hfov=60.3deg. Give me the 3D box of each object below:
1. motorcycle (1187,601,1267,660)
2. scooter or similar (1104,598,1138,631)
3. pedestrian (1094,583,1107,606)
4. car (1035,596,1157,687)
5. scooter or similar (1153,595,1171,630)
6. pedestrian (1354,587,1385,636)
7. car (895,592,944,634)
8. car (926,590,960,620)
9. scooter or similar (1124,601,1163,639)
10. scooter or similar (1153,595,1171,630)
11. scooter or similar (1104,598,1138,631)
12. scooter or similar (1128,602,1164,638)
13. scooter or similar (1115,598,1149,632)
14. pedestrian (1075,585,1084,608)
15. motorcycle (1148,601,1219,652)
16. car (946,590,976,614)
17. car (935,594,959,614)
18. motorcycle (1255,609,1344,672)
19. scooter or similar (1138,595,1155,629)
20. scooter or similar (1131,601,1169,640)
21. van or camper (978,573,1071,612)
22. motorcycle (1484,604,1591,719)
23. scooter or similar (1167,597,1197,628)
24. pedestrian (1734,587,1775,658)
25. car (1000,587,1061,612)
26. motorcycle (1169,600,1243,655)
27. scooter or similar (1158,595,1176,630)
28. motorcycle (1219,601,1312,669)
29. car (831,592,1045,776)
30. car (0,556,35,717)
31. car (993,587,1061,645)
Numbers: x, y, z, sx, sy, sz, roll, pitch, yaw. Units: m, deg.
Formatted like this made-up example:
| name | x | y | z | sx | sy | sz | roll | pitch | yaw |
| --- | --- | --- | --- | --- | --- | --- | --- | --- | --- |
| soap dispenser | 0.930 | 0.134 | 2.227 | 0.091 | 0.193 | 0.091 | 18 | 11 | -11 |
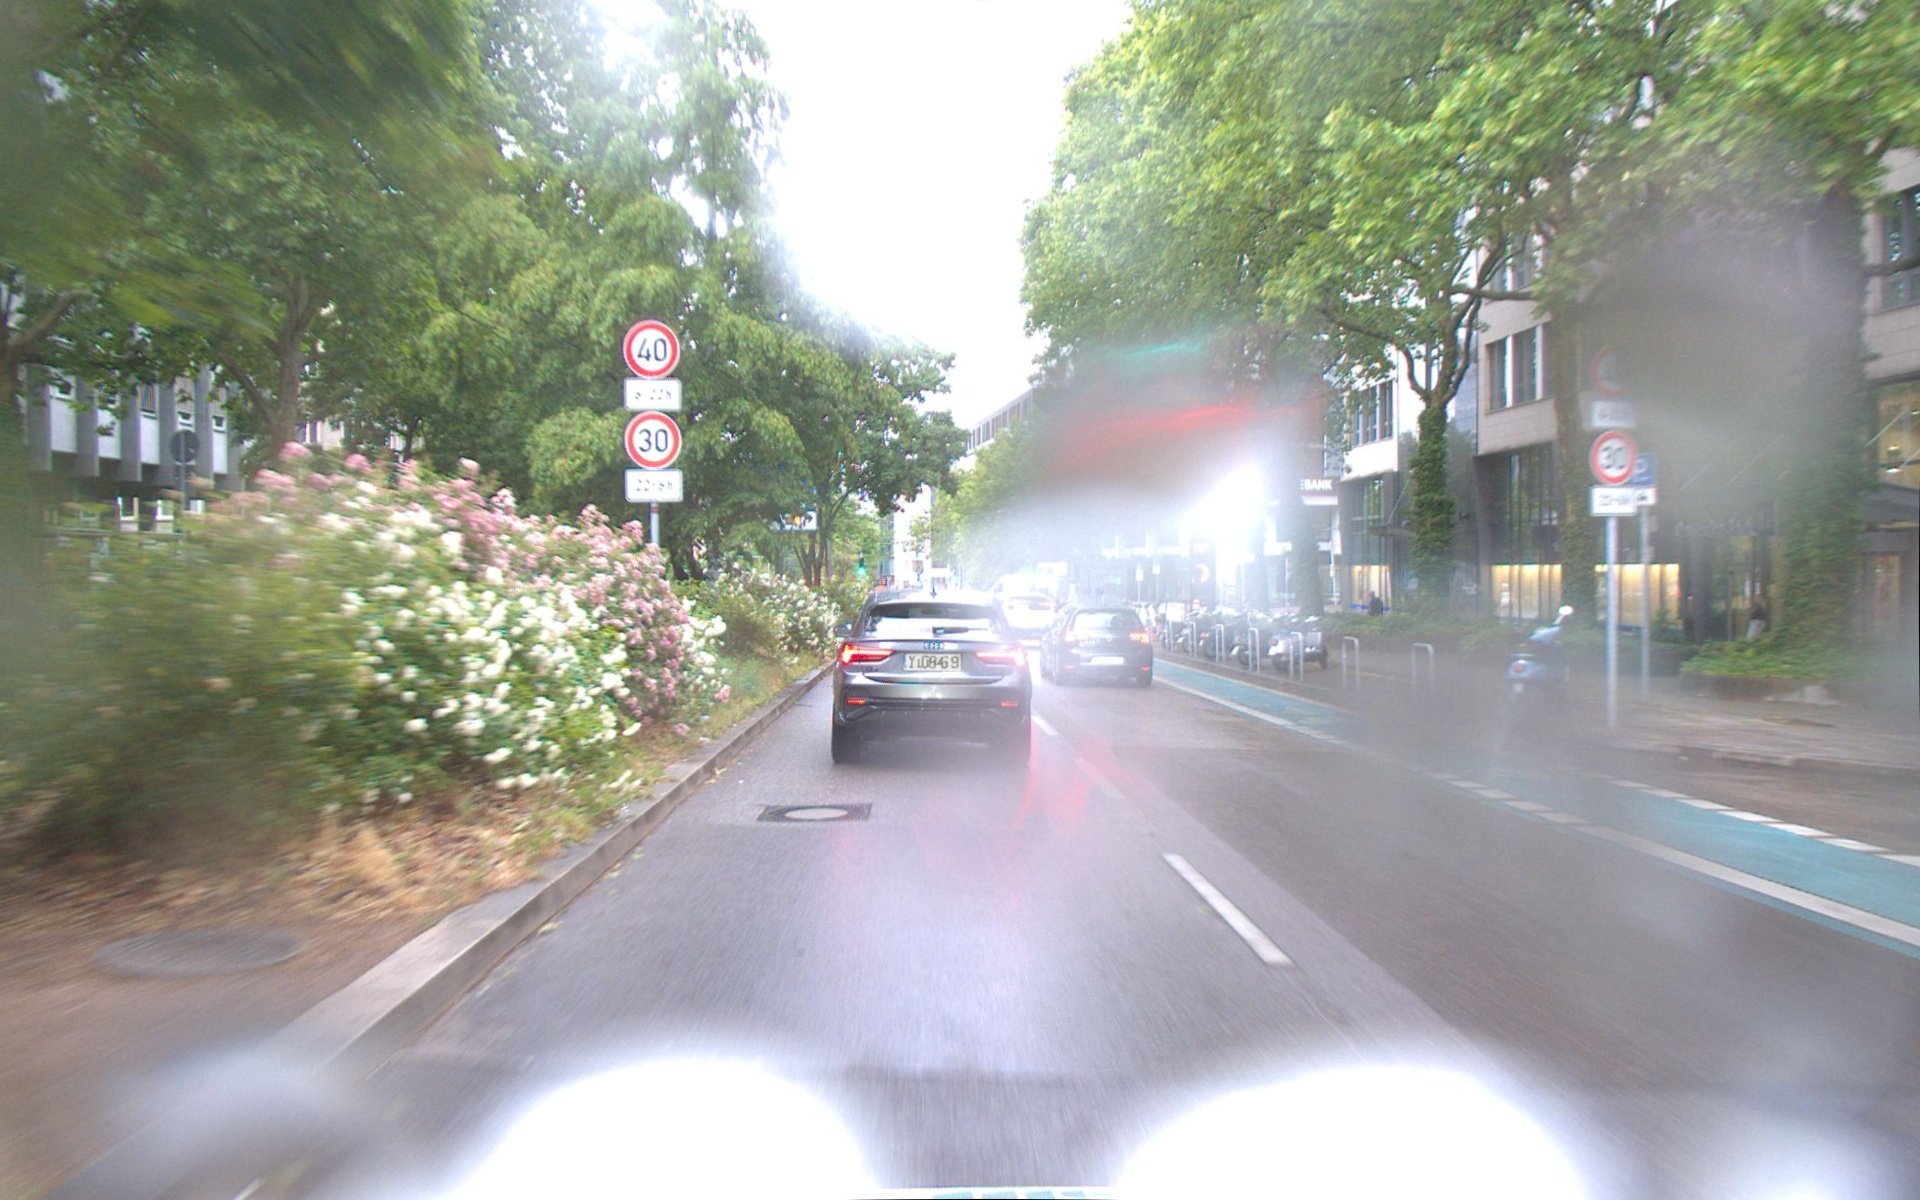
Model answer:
| name | x | y | z | sx | sy | sz | roll | pitch | yaw |
| --- | --- | --- | --- | --- | --- | --- | --- | --- | --- |
| motorcycle | 6.786 | 0.770 | 42.029 | 1.929 | 1.397 | 0.724 | -2 | 2 | -23 |
| scooter or similar | 6.367 | 0.576 | 65.349 | 1.262 | 1.282 | 0.490 | -1 | 2 | 10 |
| pedestrian | 10.606 | -0.405 | 125.071 | 0.789 | 1.726 | 1.186 | 1 | 0 | -5 |
| car | 2.454 | 0.716 | 30.673 | 1.812 | 1.550 | 4.037 | 0 | 0 | -2 |
| scooter or similar | 7.703 | 0.459 | 63.088 | 0.478 | 1.282 | 1.293 | -1 | 2 | -2 |
| pedestrian | 16.009 | 0.435 | 64.709 | 0.898 | 1.882 | 1.276 | 1 | -1 | 0 |
| car | -1.575 | 0.473 | 63.376 | 1.812 | 1.550 | 4.037 | 0 | 0 | -2 |
| car | -0.951 | 0.268 | 90.159 | 1.812 | 1.550 | 4.037 | 0 | 0 | -2 |
| scooter or similar | 6.540 | 0.718 | 59.102 | 1.267 | 1.300 | 0.535 | -2 | 2 | -13 |
| scooter or similar | 7.703 | 0.459 | 63.088 | 0.478 | 1.282 | 1.293 | -1 | 2 | -2 |
| scooter or similar | 6.423 | 0.583 | 65.962 | 1.262 | 1.282 | 0.490 | -1 | 2 | 10 |
| scooter or similar | 6.892 | 0.743 | 61.251 | 1.263 | 1.257 | 0.489 | -1 | 2 | 0 |
| scooter or similar | 6.749 | 0.578 | 64.828 | 1.262 | 1.282 | 0.490 | -1 | 2 | 10 |
| pedestrian | 9.440 | -0.253 | 130.790 | 0.542 | 1.837 | 0.761 | 1 | -1 | -5 |
| motorcycle | 6.590 | 0.765 | 48.730 | 1.925 | 1.397 | 0.725 | -2 | 2 | -18 |
| car | 0.035 | 0.128 | 108.897 | 1.812 | 1.550 | 4.037 | 0 | 0 | -2 |
| car | -1.048 | 0.282 | 130.665 | 1.812 | 1.550 | 4.037 | 0 | 0 | -2 |
| motorcycle | 7.255 | 0.851 | 35.298 | 2.039 | 1.234 | 0.676 | -3 | 0 | -38 |
| scooter or similar | 7.428 | 0.482 | 66.015 | 0.478 | 1.282 | 1.293 | -1 | 2 | -2 |
| scooter or similar | 6.661 | 0.709 | 57.977 | 1.262 | 1.300 | 0.537 | -1 | 2 | 2 |
| van or camper | 4.338 | -0.516 | 111.999 | 5.945 | 2.603 | 2.103 | 0 | 0 | 25 |
| motorcycle | 7.660 | 0.792 | 21.888 | 0.672 | 1.391 | 1.937 | -4 | -1 | 38 |
| scooter or similar | 8.953 | 0.502 | 66.698 | 0.483 | 1.219 | 1.279 | 1 | -1 | -32 |
| pedestrian | 19.654 | 0.538 | 40.905 | 0.716 | 1.722 | 0.824 | 0 | 1 | 41 |
| car | 4.494 | -0.026 | 105.884 | 3.572 | 1.574 | 1.716 | 1 | 0 | 17 |
| motorcycle | 6.768 | 0.738 | 45.461 | 1.929 | 1.397 | 0.724 | -2 | 2 | -23 |
| scooter or similar | 8.039 | 0.476 | 64.331 | 0.478 | 1.282 | 1.293 | -1 | 2 | -2 |
| motorcycle | 6.954 | 0.781 | 37.640 | 2.026 | 1.453 | 0.724 | -2 | 2 | -24 |
| car | -0.271 | 0.709 | 16.066 | 1.812 | 1.550 | 4.036 | 0 | 0 | -3 |
| car | -10.766 | 0.370 | 15.738 | 1.687 | 1.666 | 4.014 | 1 | 0 | -1 |
| car | 2.037 | 0.468 | 51.082 | 1.812 | 1.698 | 4.037 | 0 | 0 | -2 |
